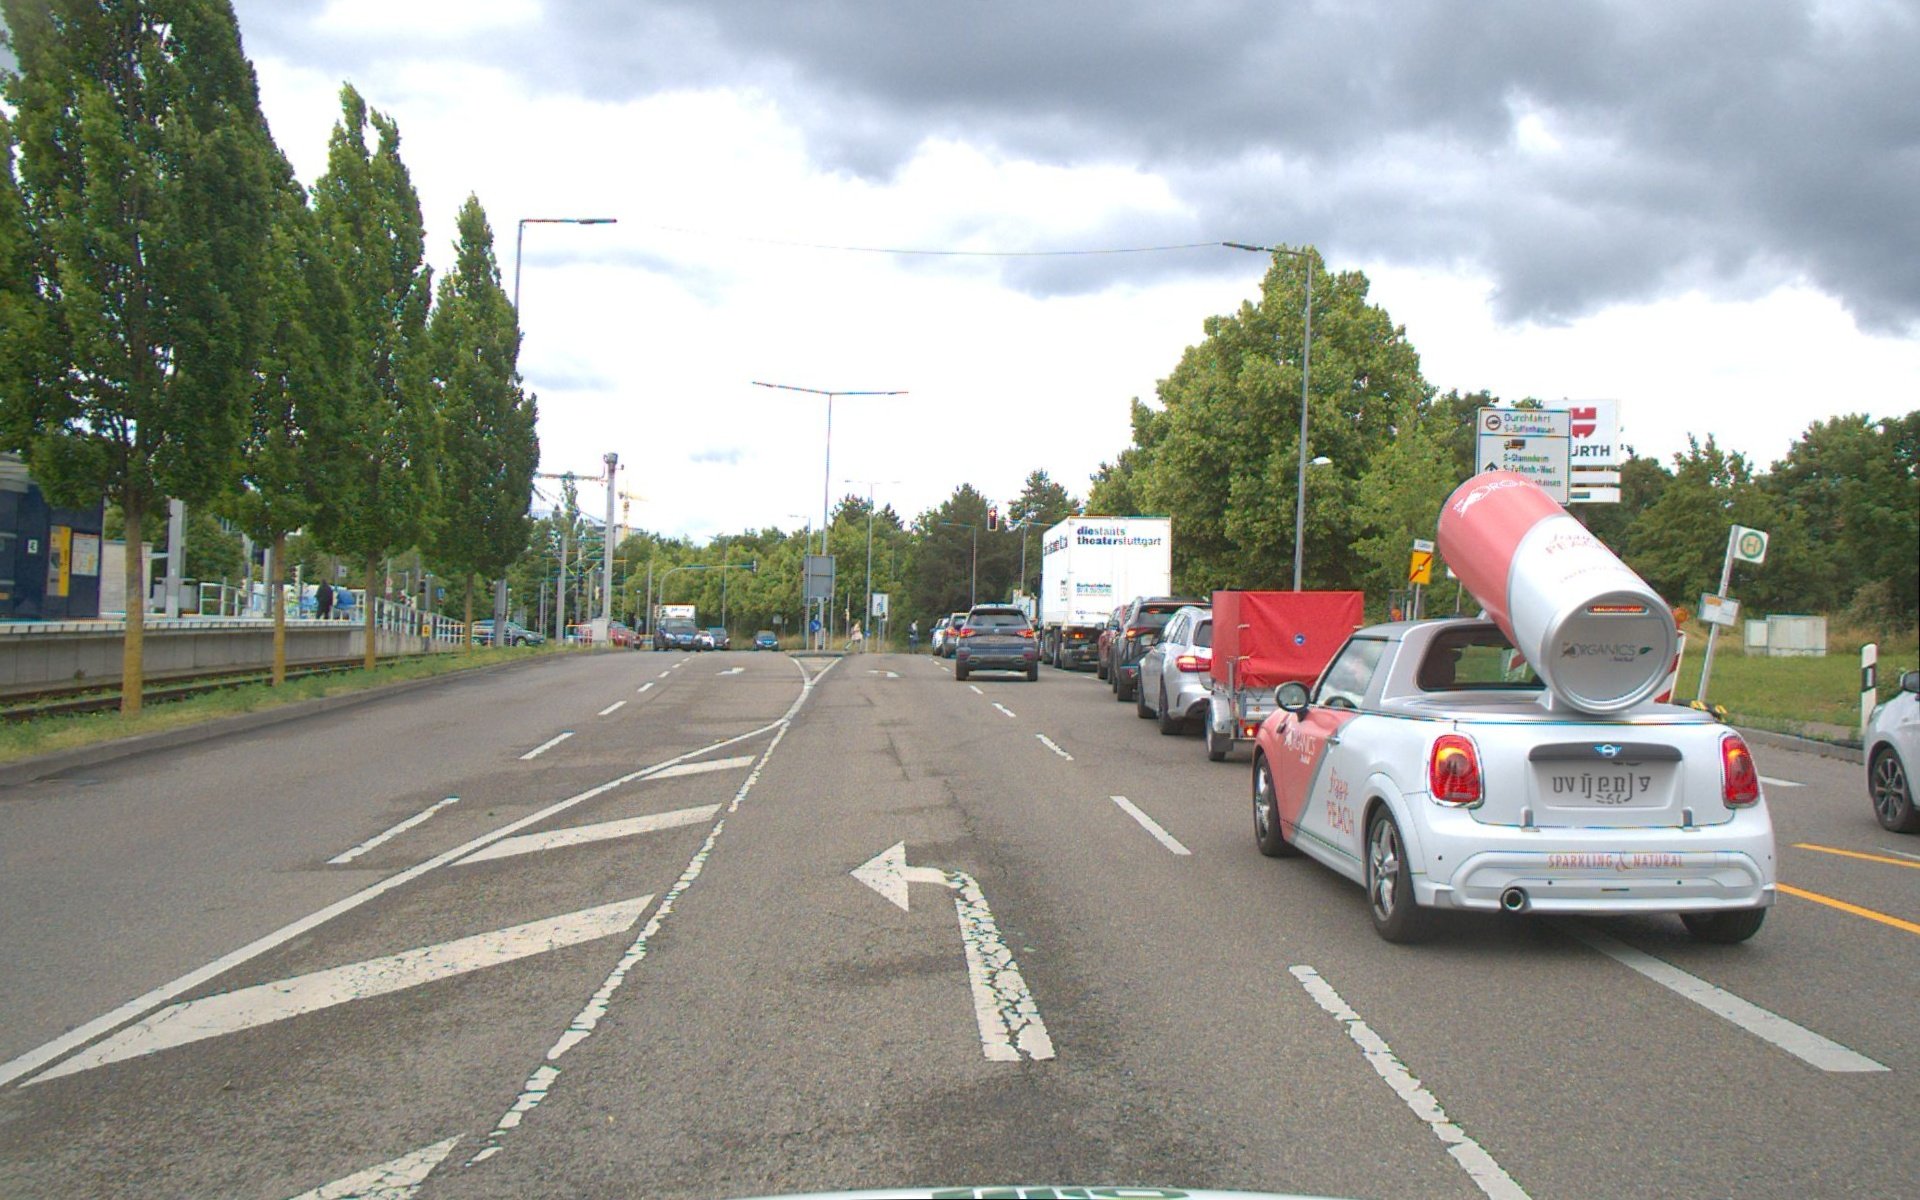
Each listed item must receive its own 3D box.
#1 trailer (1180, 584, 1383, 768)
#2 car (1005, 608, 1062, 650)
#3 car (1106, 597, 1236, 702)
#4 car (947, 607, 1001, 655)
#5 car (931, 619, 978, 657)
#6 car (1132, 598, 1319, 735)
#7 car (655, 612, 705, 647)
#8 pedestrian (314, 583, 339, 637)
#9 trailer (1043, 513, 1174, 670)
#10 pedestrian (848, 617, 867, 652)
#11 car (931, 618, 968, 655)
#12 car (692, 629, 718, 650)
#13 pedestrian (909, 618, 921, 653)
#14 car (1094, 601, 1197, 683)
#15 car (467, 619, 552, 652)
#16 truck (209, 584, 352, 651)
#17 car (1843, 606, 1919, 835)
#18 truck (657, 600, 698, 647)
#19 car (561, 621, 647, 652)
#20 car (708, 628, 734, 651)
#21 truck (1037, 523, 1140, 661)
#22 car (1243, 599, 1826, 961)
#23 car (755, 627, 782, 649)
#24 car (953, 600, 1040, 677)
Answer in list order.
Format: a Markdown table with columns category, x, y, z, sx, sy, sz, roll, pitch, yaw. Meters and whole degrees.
| category | x | y | z | sx | sy | sz | roll | pitch | yaw |
| --- | --- | --- | --- | --- | --- | --- | --- | --- | --- |
| trailer | 3.078 | 0.676 | 16.345 | 1.380 | 1.622 | 3.303 | 0 | 0 | 0 |
| car | 2.663 | 1.066 | 60.596 | 1.788 | 1.460 | 4.211 | 0 | -1 | -2 |
| car | 3.399 | 0.760 | 27.344 | 1.806 | 1.588 | 4.406 | 0 | 0 | 3 |
| car | 0.438 | 1.043 | 56.840 | 1.762 | 1.550 | 4.187 | 0 | 0 | -1 |
| car | -0.238 | 1.516 | 65.841 | 1.687 | 1.447 | 4.354 | 0 | -2 | -3 |
| car | 3.126 | 0.742 | 20.243 | 1.637 | 1.473 | 4.489 | 1 | 0 | 1 |
| car | -13.010 | 1.383 | 76.787 | 1.699 | 1.601 | 3.686 | 1 | -2 | -19 |
| pedestrian | -21.906 | 0.349 | 57.221 | 0.561 | 1.860 | 0.792 | 1 | -2 | -6 |
| trailer | 3.771 | -0.219 | 43.723 | 2.514 | 3.770 | 7.761 | 0 | 0 | -2 |
| pedestrian | -4.755 | 1.580 | 76.611 | 0.847 | 1.587 | 0.518 | 0 | 1 | -4 |
| car | -0.464 | 1.580 | 71.145 | 1.504 | 1.531 | 2.668 | 0 | -2 | -3 |
| car | -19.607 | 3.043 | 127.484 | 1.741 | 1.534 | 3.742 | 0 | 0 | -5 |
| pedestrian | -2.143 | 1.692 | 78.754 | 0.575 | 1.650 | 0.423 | 0 | 1 | -4 |
| car | 3.748 | 0.832 | 34.009 | 1.672 | 1.551 | 4.319 | 0 | -1 | 1 |
| car | -23.937 | 1.867 | 87.961 | 3.902 | 1.623 | 2.002 | 1 | 1 | 6 |
| truck | -38.666 | 0.973 | 94.272 | 7.086 | 3.661 | 2.694 | 1 | 1 | 5 |
| car | 6.921 | 0.781 | 9.933 | 1.589 | 1.483 | 3.691 | 1 | -1 | 6 |
| truck | -23.384 | 1.902 | 136.723 | 2.615 | 3.713 | 9.467 | 0 | 0 | -14 |
| car | -18.305 | 1.855 | 85.129 | 3.987 | 1.514 | 1.709 | 1 | -1 | 5 |
| car | -19.531 | 3.239 | 135.355 | 1.879 | 1.758 | 3.995 | 0 | 0 | -6 |
| truck | 3.651 | -0.242 | 47.679 | 2.519 | 3.770 | 4.105 | 0 | 0 | -2 |
| car | 2.697 | 0.759 | 8.680 | 1.684 | 1.483 | 3.695 | 1 | 0 | -2 |
| car | -14.954 | 2.926 | 129.308 | 1.881 | 1.604 | 3.991 | 0 | 0 | -10 |
| car | 0.720 | 0.801 | 34.775 | 1.664 | 1.512 | 3.999 | 0 | -1 | -1 |
